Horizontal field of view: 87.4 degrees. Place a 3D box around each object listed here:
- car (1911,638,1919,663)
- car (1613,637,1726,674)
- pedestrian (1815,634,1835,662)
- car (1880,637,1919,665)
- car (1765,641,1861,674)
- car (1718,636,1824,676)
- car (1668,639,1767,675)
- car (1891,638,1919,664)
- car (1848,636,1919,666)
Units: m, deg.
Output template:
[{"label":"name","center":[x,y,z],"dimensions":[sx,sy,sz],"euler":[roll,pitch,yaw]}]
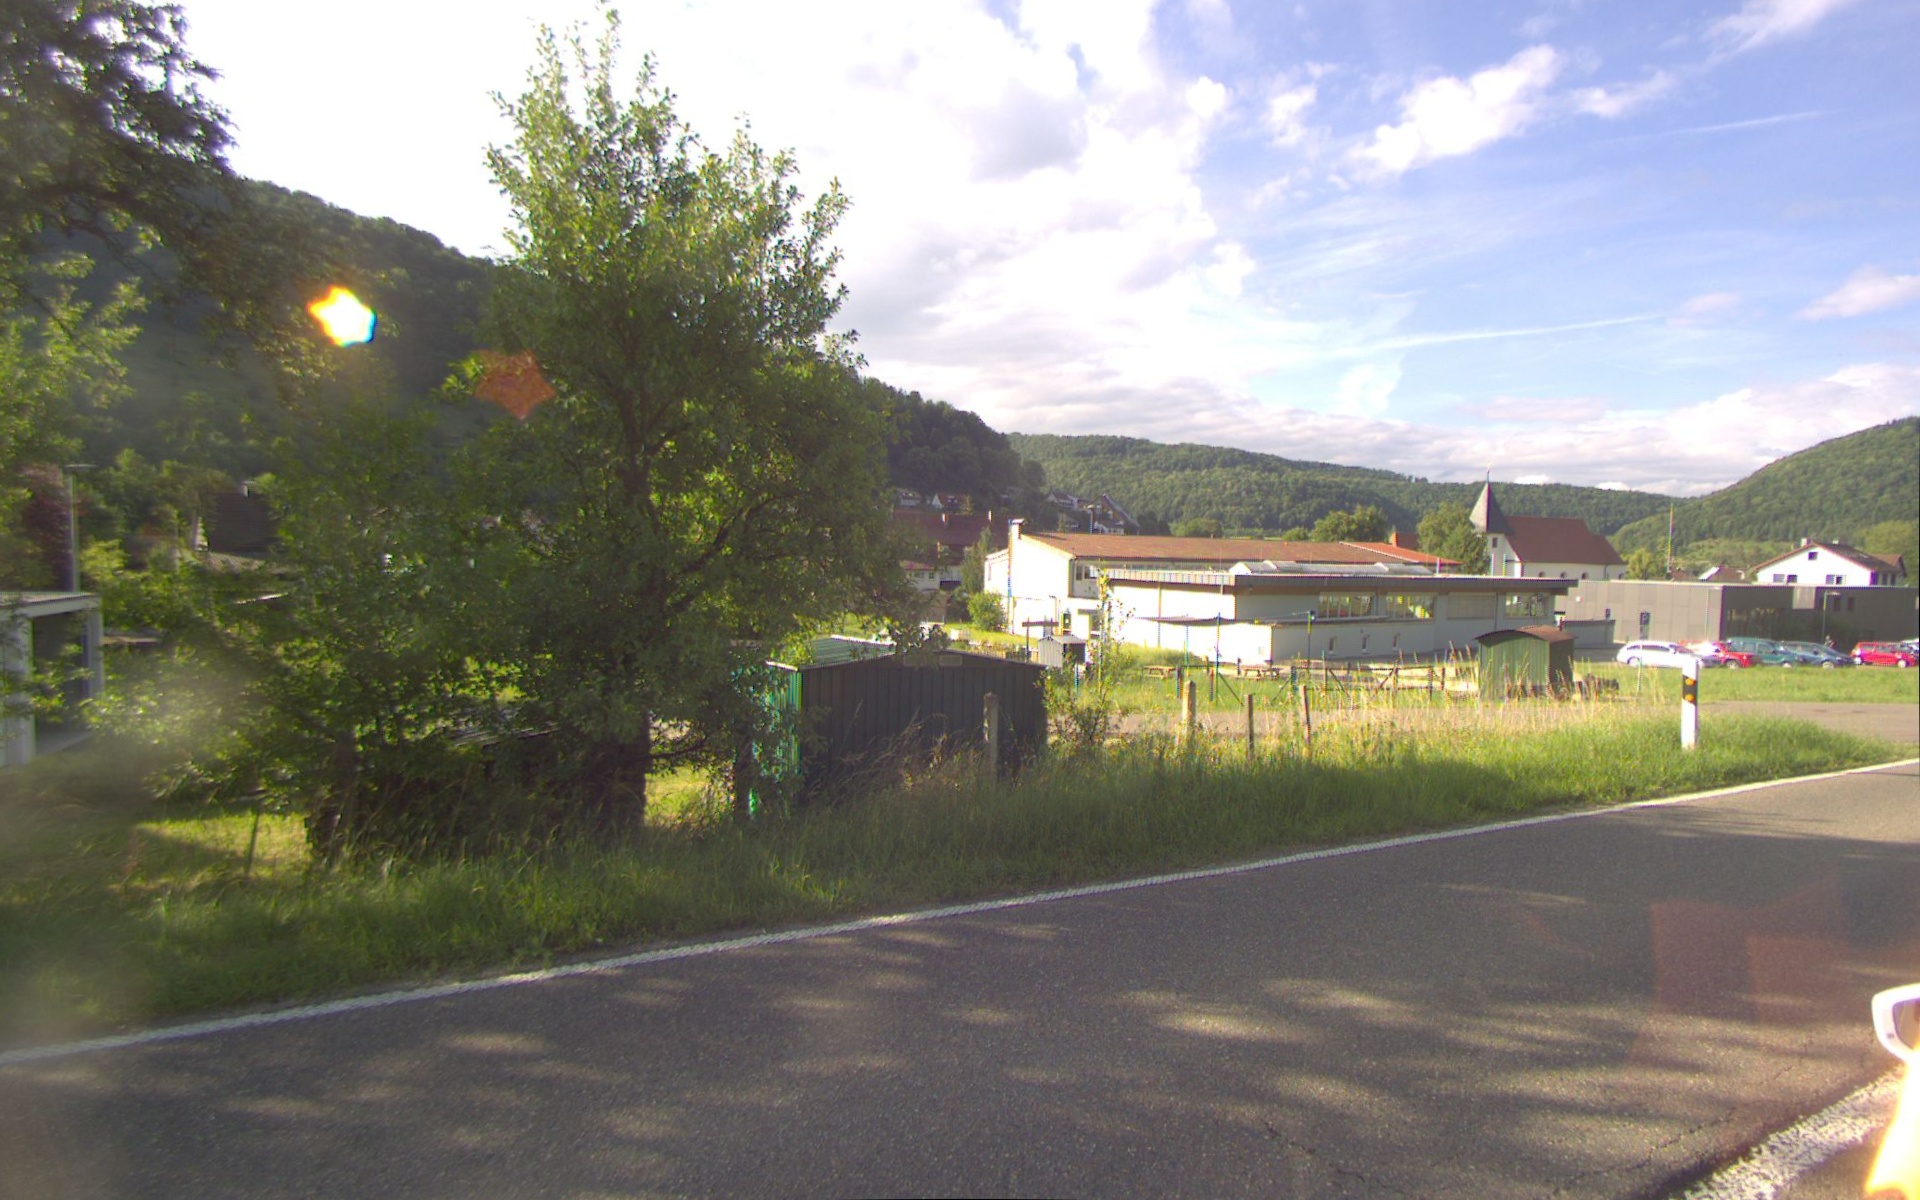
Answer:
[{"label":"car","center":[70.190,3.653,70.998],"dimensions":[1.978,1.733,3.965],"euler":[2,0,-32]},{"label":"car","center":[39.128,3.036,55.514],"dimensions":[1.978,1.733,4.705],"euler":[2,0,-32]},{"label":"pedestrian","center":[64.026,3.543,74.361],"dimensions":[0.962,2.040,0.821],"euler":[2,0,-30]},{"label":"car","center":[64.470,3.456,67.176],"dimensions":[1.978,1.733,3.965],"euler":[2,0,-32]},{"label":"car","center":[51.375,3.440,60.549],"dimensions":[1.978,1.733,3.965],"euler":[2,0,-32]},{"label":"car","center":[47.322,3.236,58.693],"dimensions":[1.978,2.034,4.382],"euler":[2,0,-32]},{"label":"car","center":[42.230,3.134,56.042],"dimensions":[1.978,1.733,3.965],"euler":[2,0,-32]},{"label":"car","center":[67.349,3.557,69.433],"dimensions":[1.978,1.733,3.965],"euler":[2,0,-32]},{"label":"car","center":[60.473,3.322,65.118],"dimensions":[1.978,1.733,3.965],"euler":[2,0,-32]}]
